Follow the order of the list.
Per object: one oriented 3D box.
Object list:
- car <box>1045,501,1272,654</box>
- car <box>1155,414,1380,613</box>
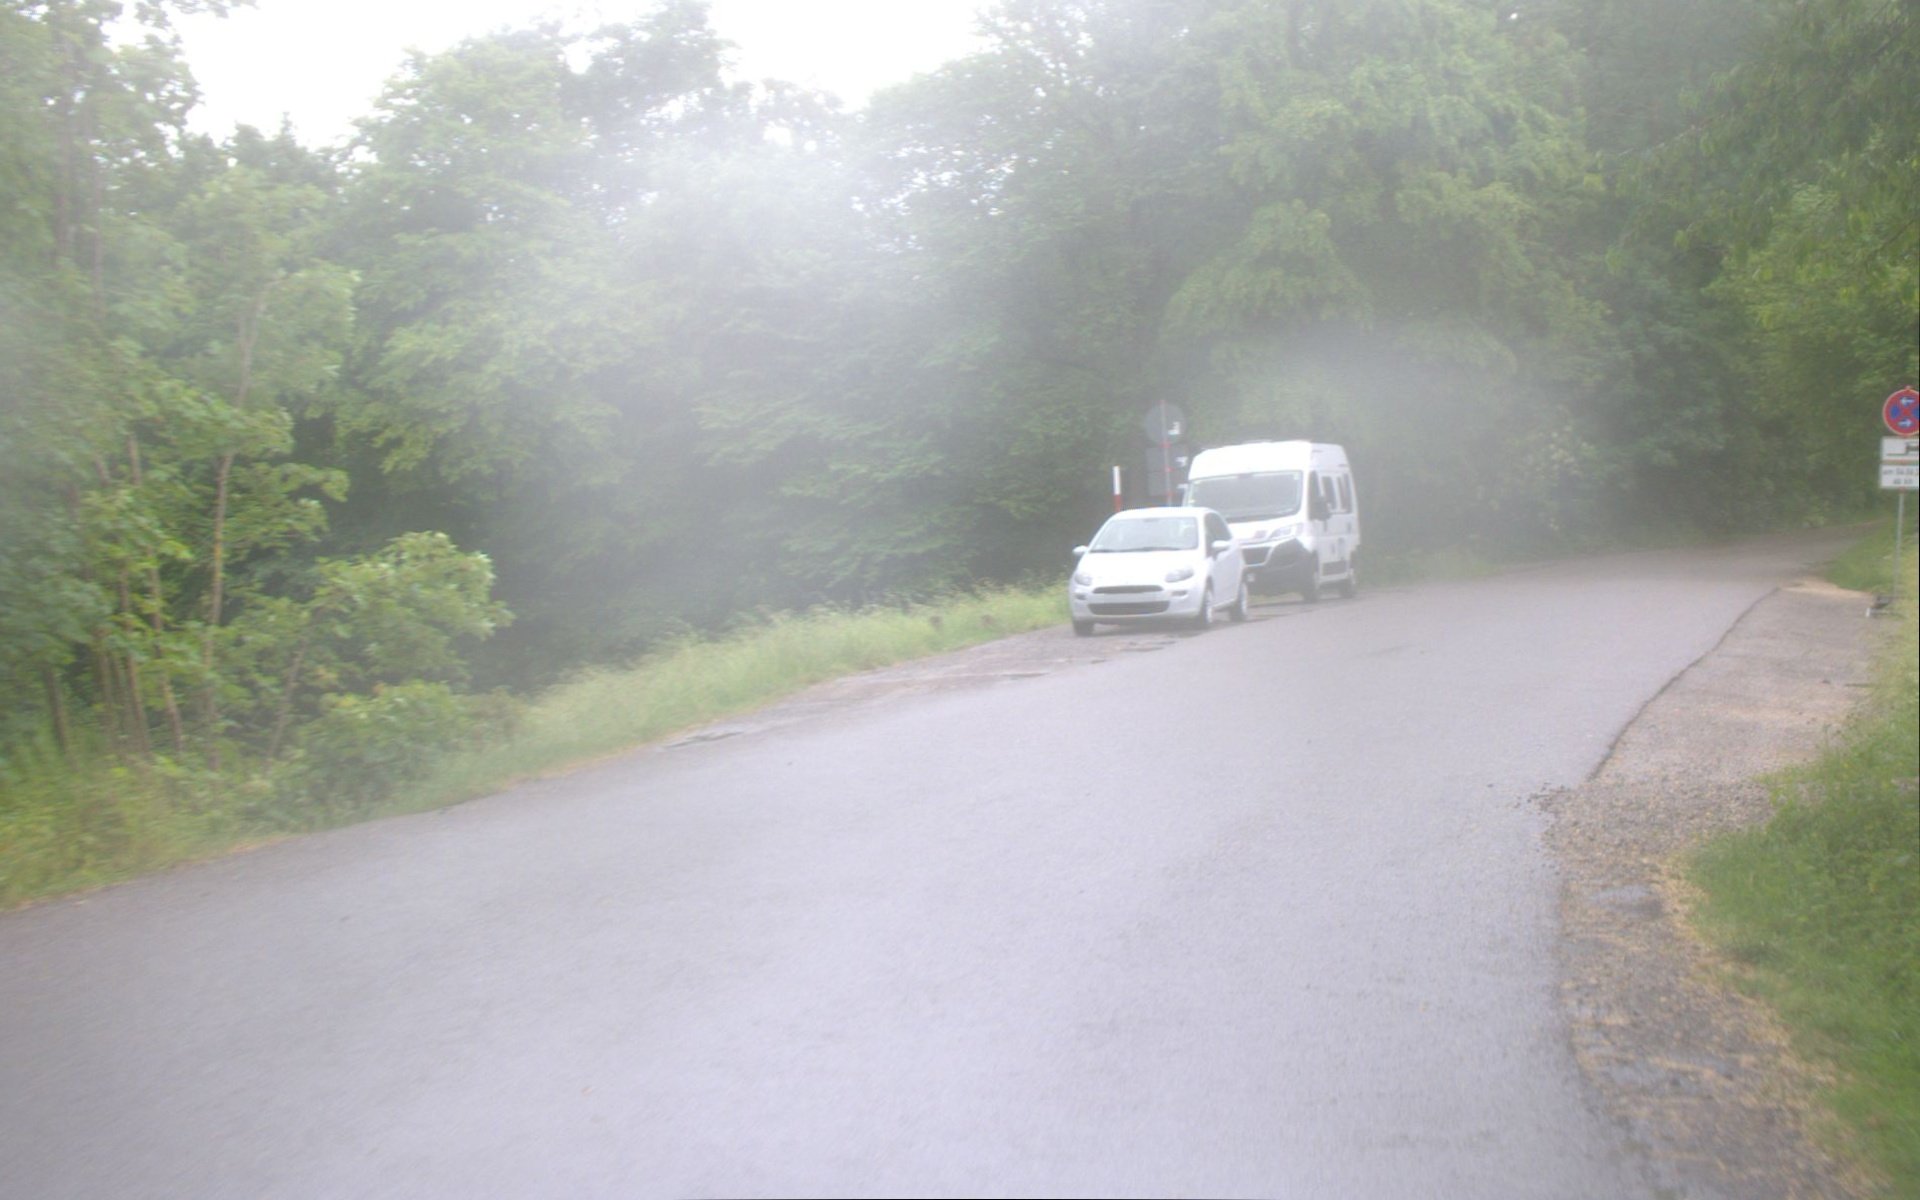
[{"bbox_3d":[2.524,-0.323,42.631,1.862,1.590,4.493,-3,2,15],"label":"car"},{"bbox_3d":[4.762,-1.392,52.266,2.274,2.687,6.046,-4,2,15],"label":"car"}]
